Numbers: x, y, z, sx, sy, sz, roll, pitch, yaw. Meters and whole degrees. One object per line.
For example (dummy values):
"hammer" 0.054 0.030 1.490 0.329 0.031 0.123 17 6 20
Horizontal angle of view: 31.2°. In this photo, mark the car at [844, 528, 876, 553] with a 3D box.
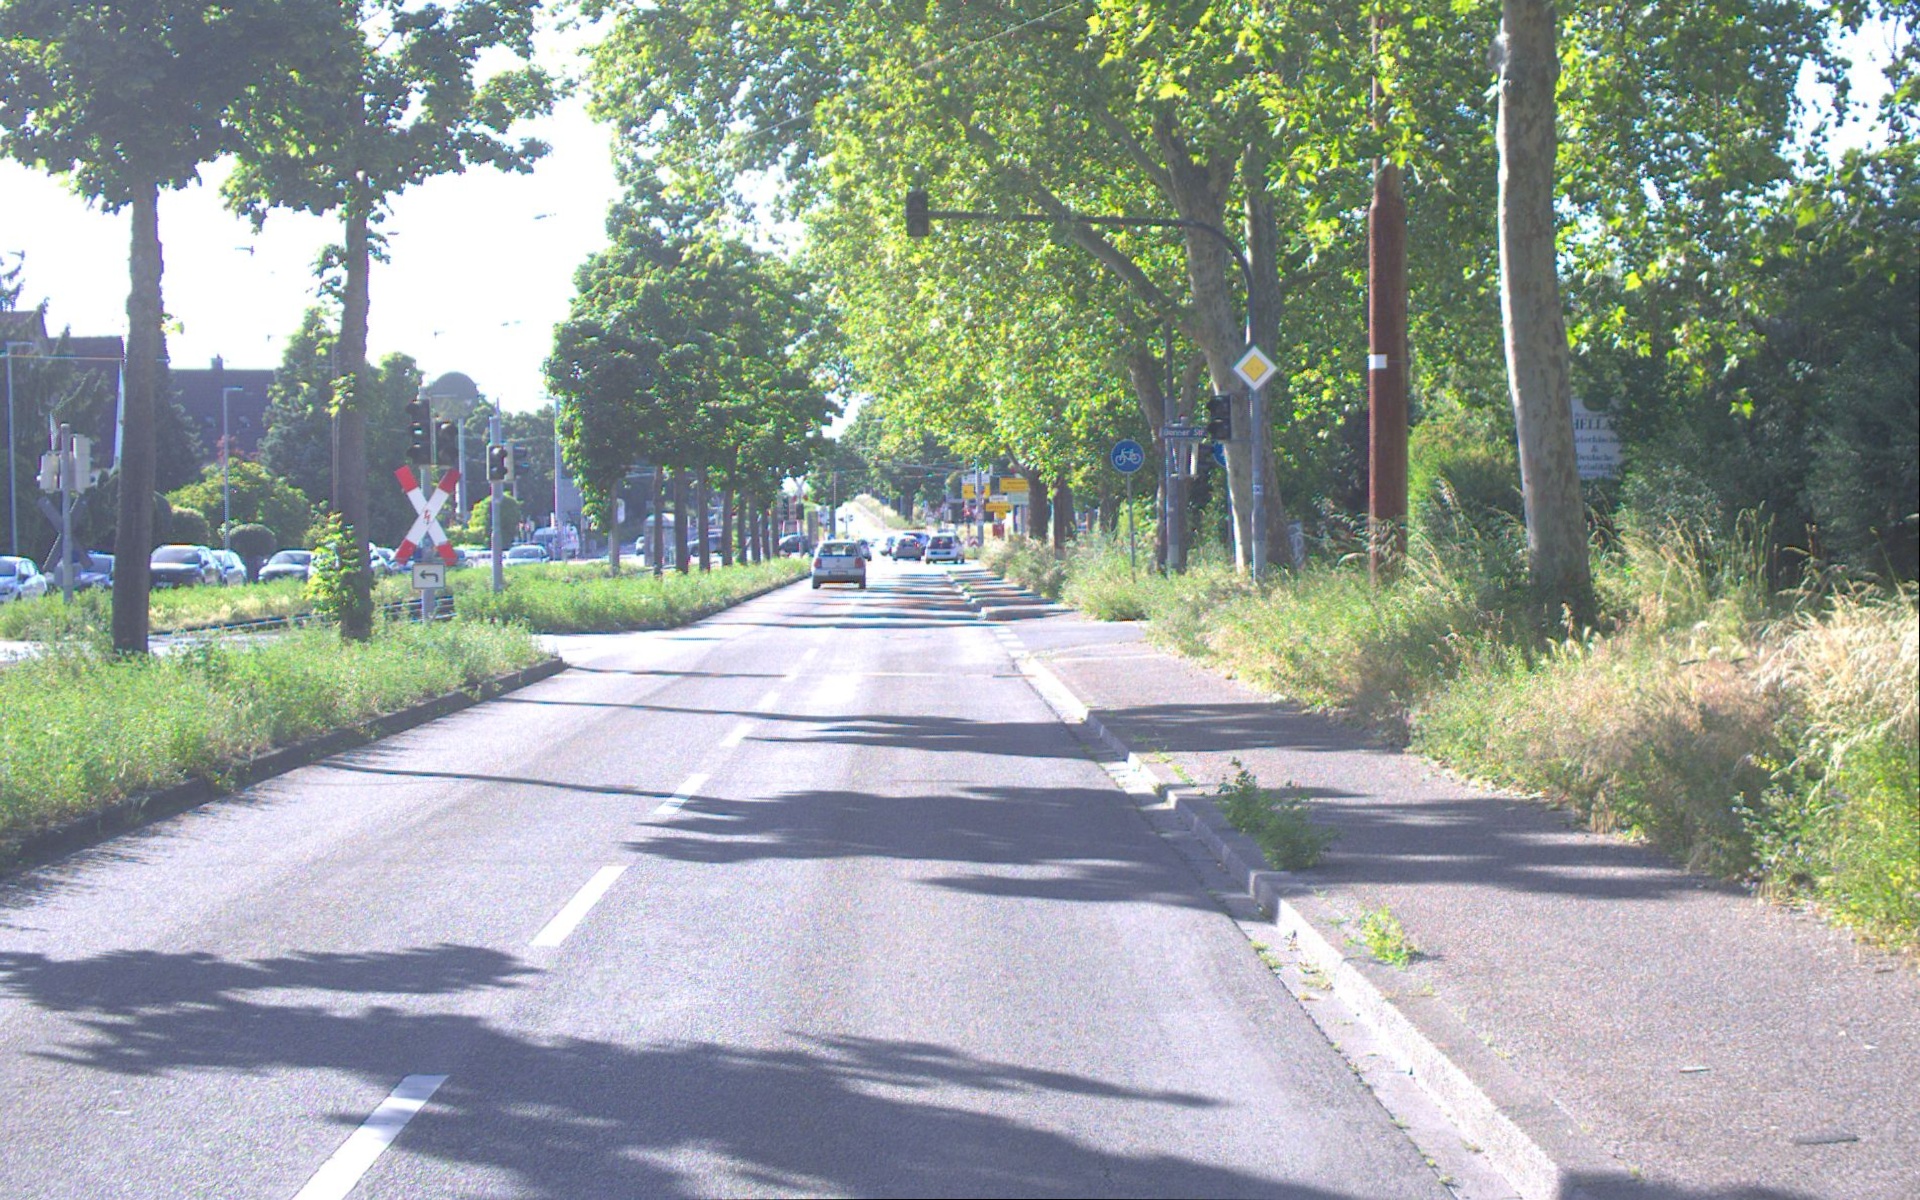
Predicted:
"car" -6.368 -3.809 219.974 1.993 1.598 4.474 0 1 -1

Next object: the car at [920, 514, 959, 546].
"car" -1.073 -3.615 177.463 1.993 1.598 4.474 0 1 -1

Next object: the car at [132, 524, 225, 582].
"car" -22.817 -1.393 100.532 1.748 1.645 4.556 0 1 -1

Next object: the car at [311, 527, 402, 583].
"car" -17.768 -1.346 101.402 1.993 1.598 4.474 0 1 -1

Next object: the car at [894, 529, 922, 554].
"car" -3.325 -3.710 218.629 1.791 1.553 4.228 0 1 -1

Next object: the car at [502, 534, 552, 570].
"car" -18.840 -2.103 149.709 1.660 1.547 4.811 0 1 -1

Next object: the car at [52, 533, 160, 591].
"car" -22.132 -0.994 89.273 1.729 1.461 4.603 0 1 -1

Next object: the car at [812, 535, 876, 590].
"car" -3.493 -1.147 103.819 1.860 1.595 4.228 0 1 -1

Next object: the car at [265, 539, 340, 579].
"car" -22.860 -1.451 119.708 1.860 1.365 4.228 0 1 -1

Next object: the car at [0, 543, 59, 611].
"car" -22.526 -0.562 80.389 1.860 1.536 4.228 0 1 -1
